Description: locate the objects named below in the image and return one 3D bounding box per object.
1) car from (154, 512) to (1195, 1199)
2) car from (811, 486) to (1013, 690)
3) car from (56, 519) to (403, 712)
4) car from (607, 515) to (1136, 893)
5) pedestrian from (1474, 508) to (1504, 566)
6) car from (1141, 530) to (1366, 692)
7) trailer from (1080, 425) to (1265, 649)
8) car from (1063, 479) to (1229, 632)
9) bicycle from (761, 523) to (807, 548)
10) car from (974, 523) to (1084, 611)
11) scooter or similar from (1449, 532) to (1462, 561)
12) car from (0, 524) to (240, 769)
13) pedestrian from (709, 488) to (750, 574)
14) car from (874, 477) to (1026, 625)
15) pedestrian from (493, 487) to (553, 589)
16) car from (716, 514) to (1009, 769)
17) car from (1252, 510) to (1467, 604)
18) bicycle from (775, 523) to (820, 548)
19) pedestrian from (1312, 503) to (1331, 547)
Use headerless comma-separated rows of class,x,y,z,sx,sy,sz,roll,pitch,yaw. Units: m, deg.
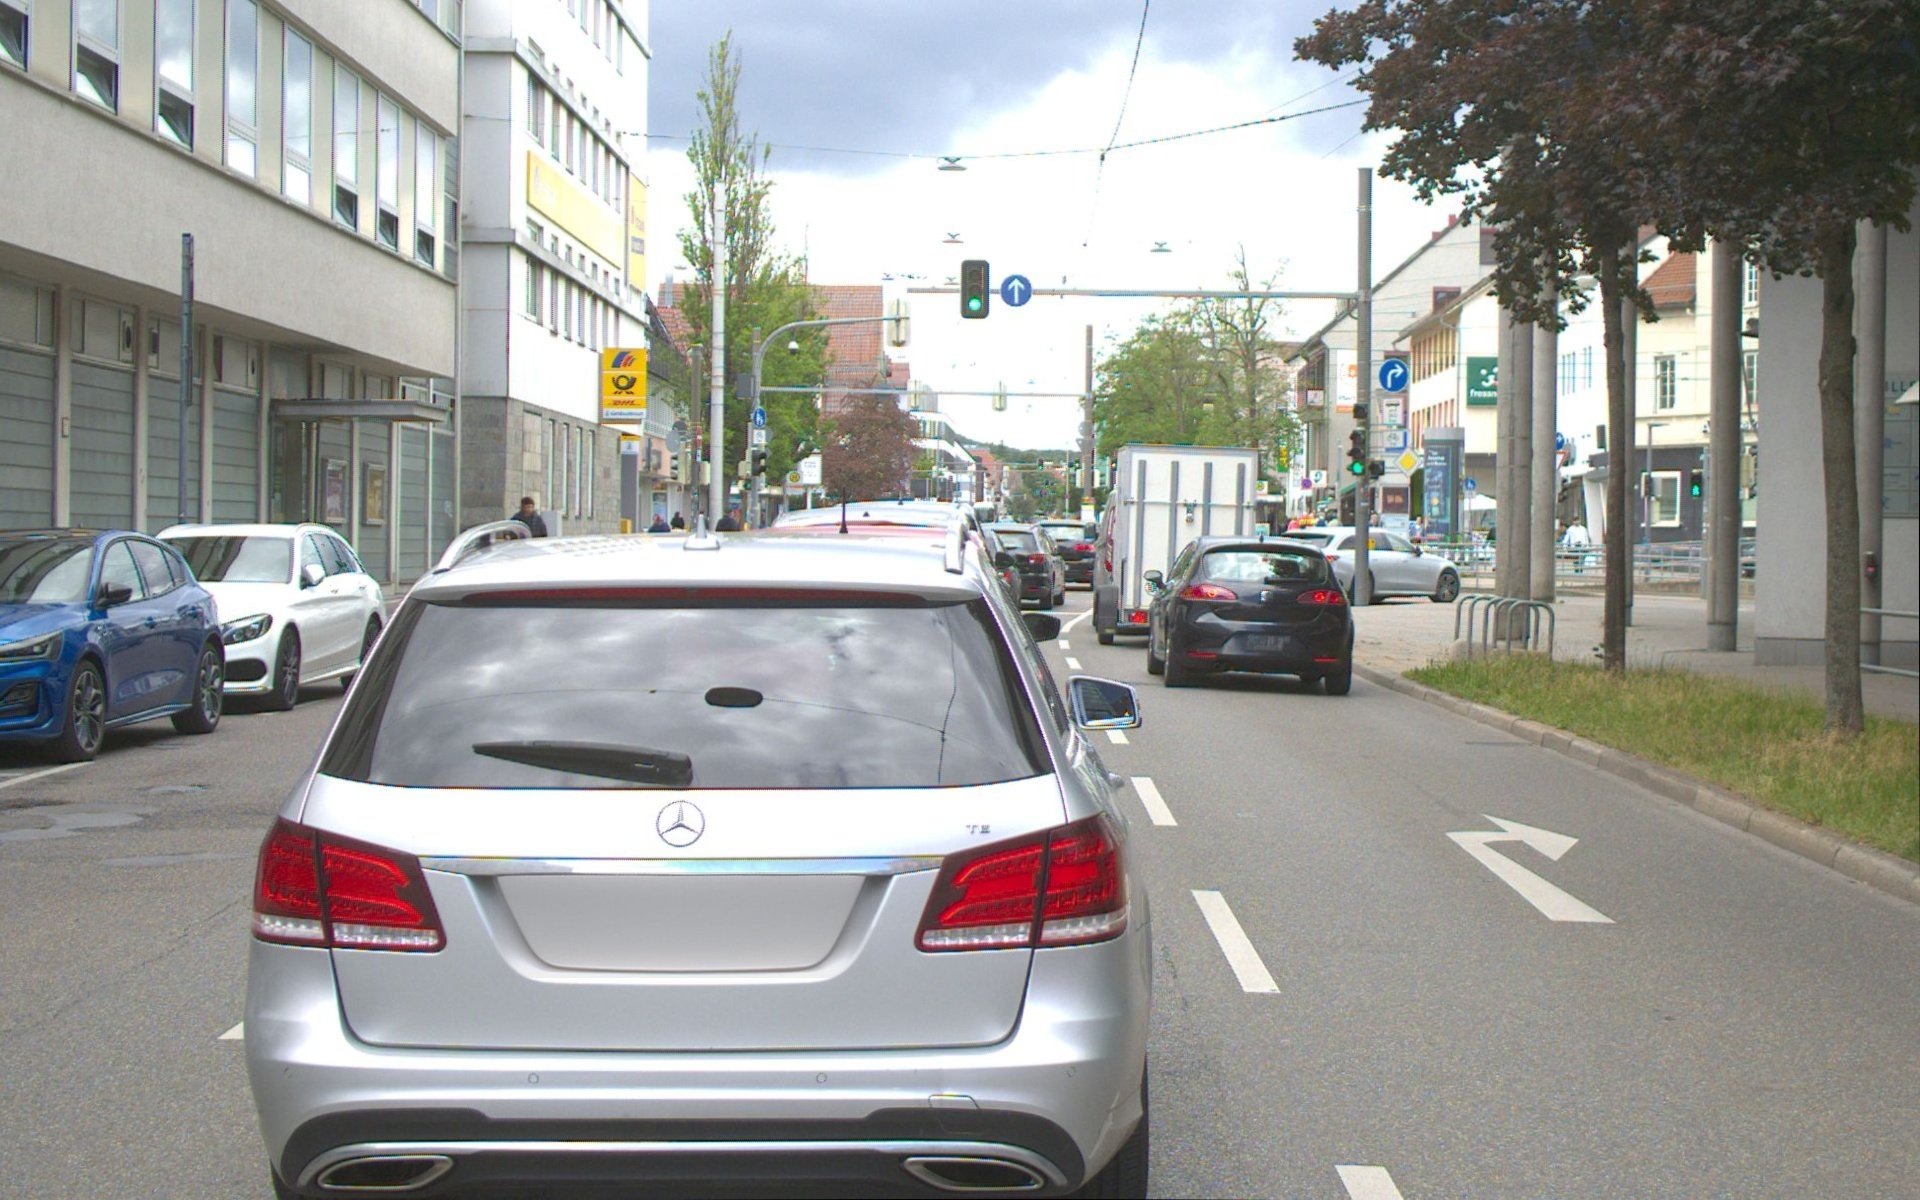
car,-0.547,0.549,8.214,1.845,1.503,4.171,0,1,-1
car,-0.450,-0.154,31.726,1.734,1.753,4.000,0,1,-1
car,-5.912,0.066,28.345,1.670,1.429,4.553,-1,1,3
car,-0.271,0.371,15.959,1.735,1.503,3.999,1,1,9
pedestrian,15.869,-1.888,103.164,0.649,1.712,0.703,1,2,33
car,2.751,0.059,32.973,1.734,1.406,4.001,0,2,-1
trailer,2.642,-0.818,43.691,1.877,2.604,4.323,3,1,-1
car,2.554,-0.653,48.288,1.877,1.939,4.907,3,1,-1
bicycle,-7.643,-2.801,149.588,1.937,1.025,0.530,2,1,-8
car,1.165,-0.593,59.300,1.734,1.406,4.001,0,2,-1
scooter or similar,17.335,-1.884,120.331,0.271,0.998,1.029,1,1,-2
car,-6.160,0.236,22.437,1.815,1.421,4.264,-1,1,3
pedestrian,-4.709,-1.414,70.283,0.648,1.712,0.782,2,2,8
car,-0.141,-0.648,43.835,1.828,1.779,4.000,1,1,-1
pedestrian,-7.523,-1.067,59.231,0.861,1.712,1.032,2,1,-1
car,-0.618,0.200,22.504,1.734,1.503,4.000,0,1,-1
car,7.684,-0.814,65.776,1.738,1.600,4.549,4,2,41
bicycle,-7.272,-2.877,153.564,1.937,1.025,0.530,2,1,-8
pedestrian,13.768,-2.868,131.037,0.578,1.660,0.651,2,1,-4
